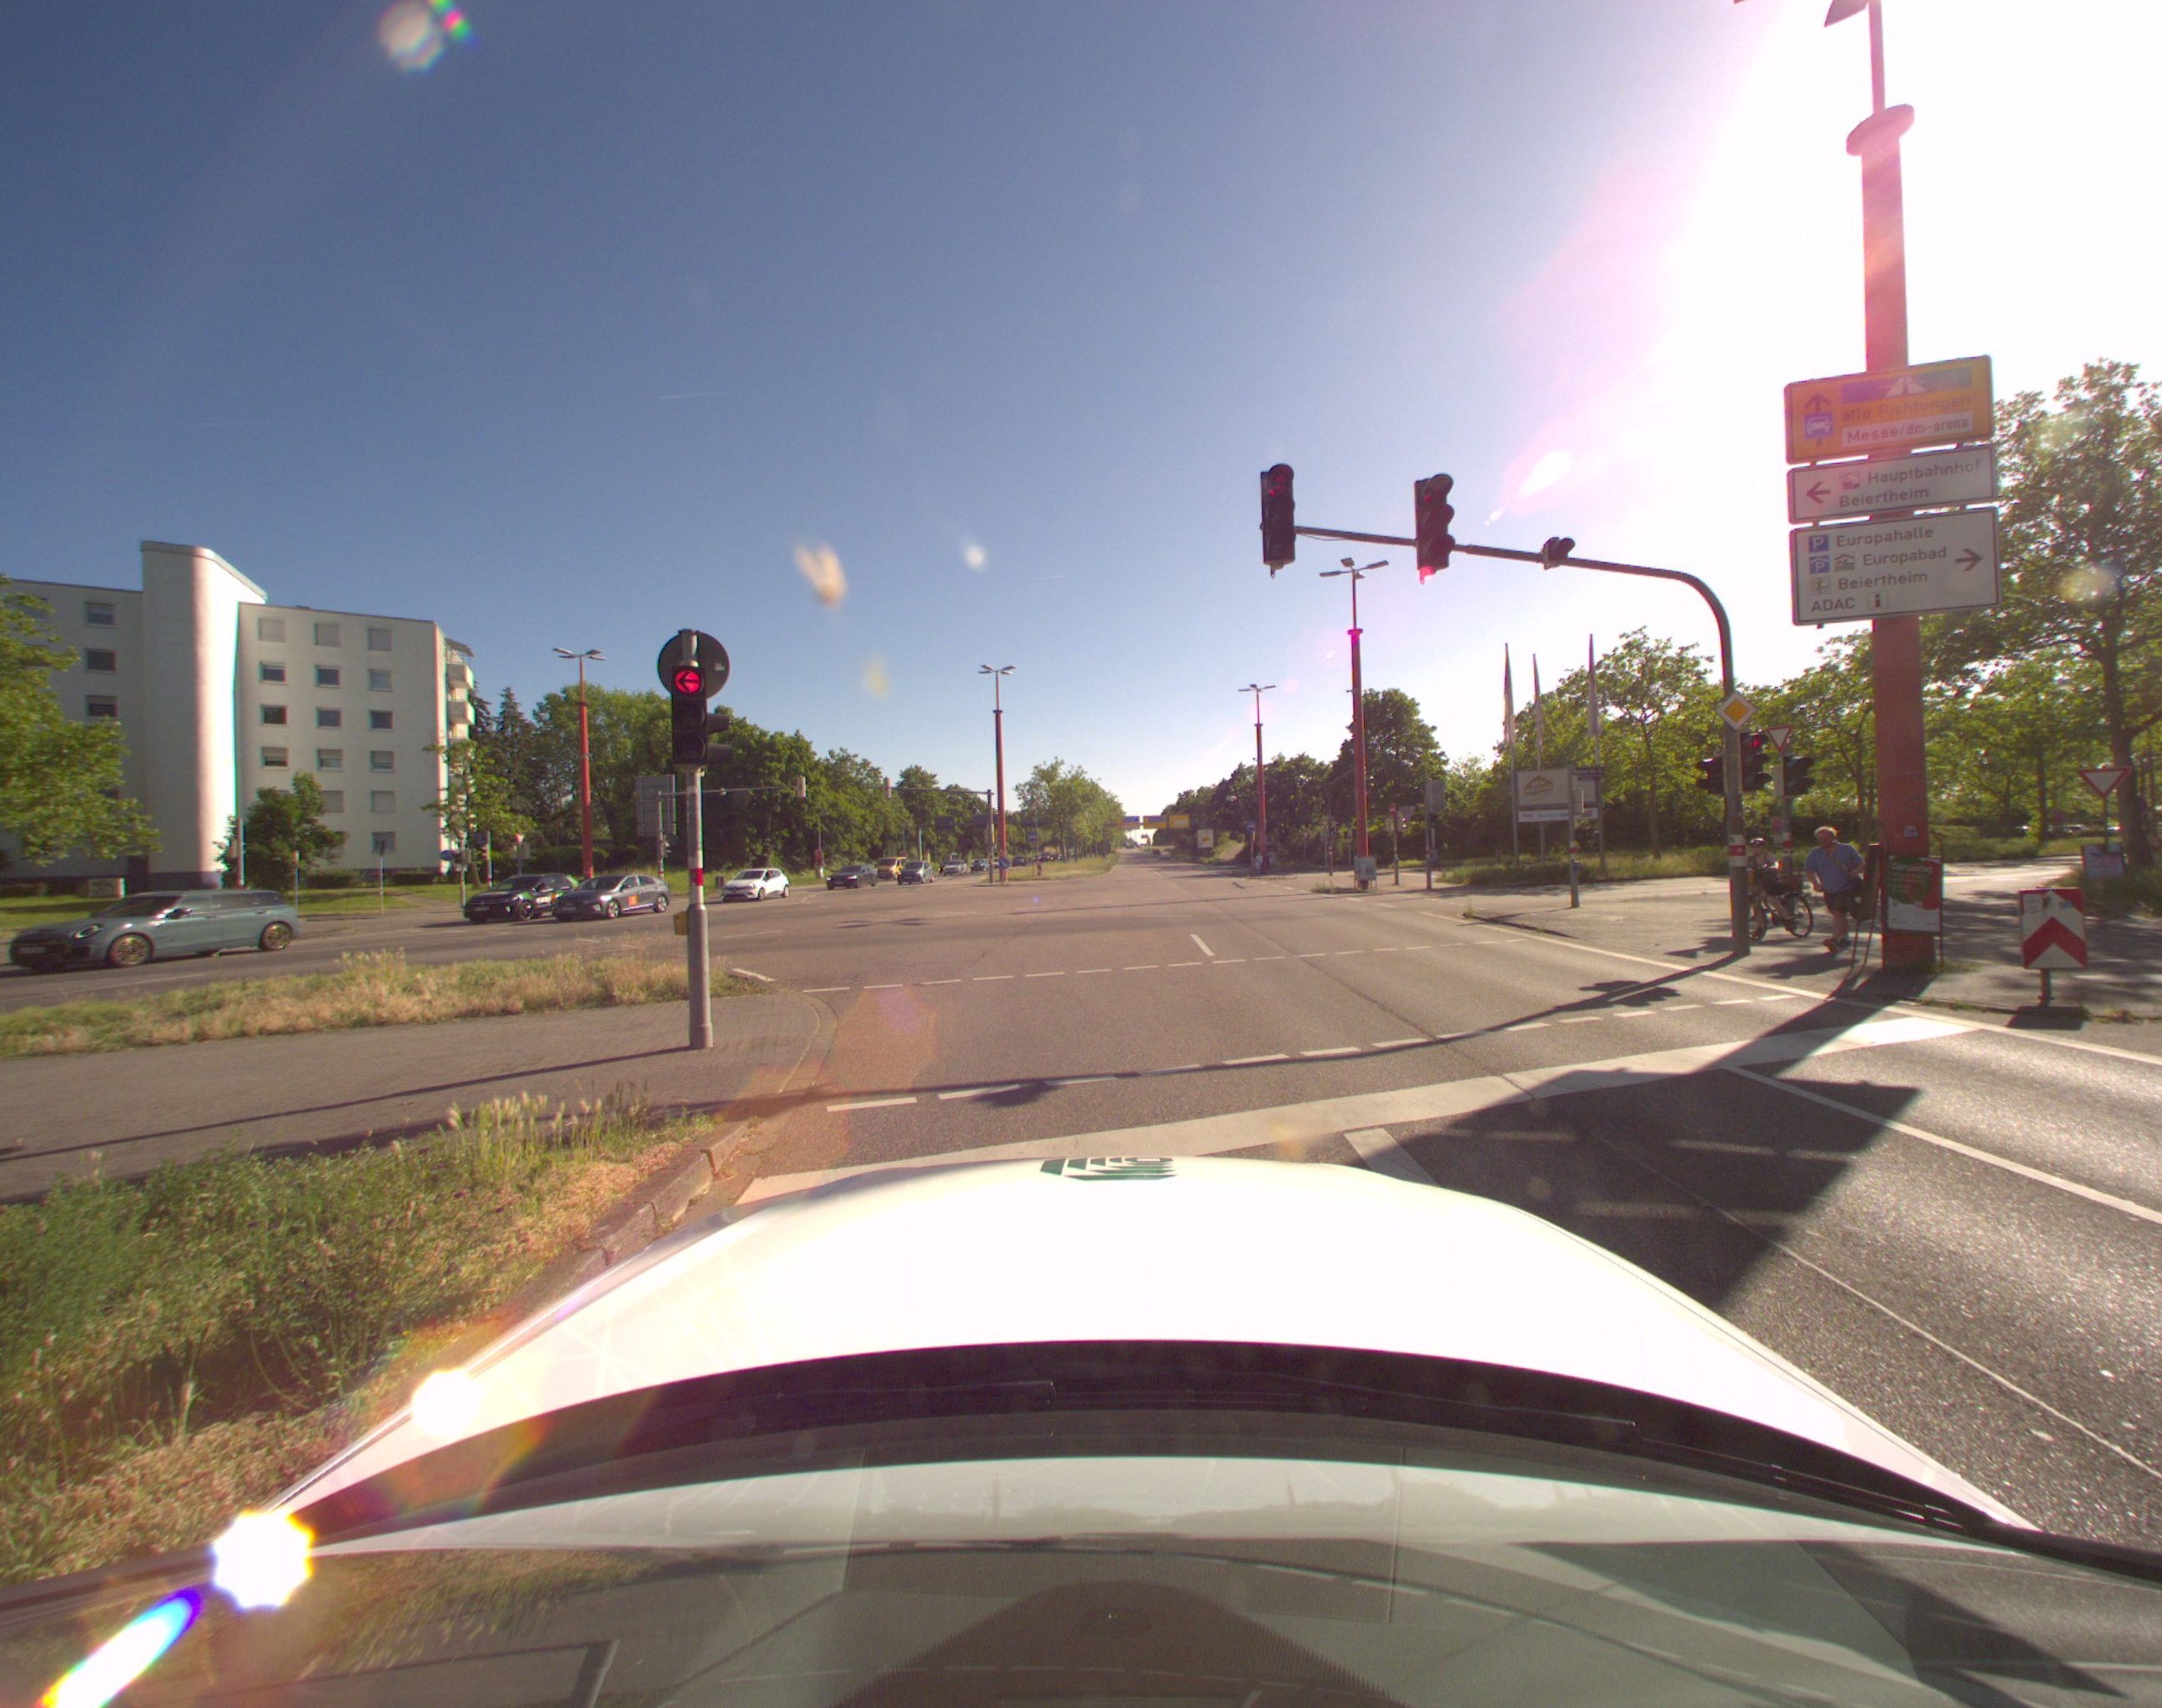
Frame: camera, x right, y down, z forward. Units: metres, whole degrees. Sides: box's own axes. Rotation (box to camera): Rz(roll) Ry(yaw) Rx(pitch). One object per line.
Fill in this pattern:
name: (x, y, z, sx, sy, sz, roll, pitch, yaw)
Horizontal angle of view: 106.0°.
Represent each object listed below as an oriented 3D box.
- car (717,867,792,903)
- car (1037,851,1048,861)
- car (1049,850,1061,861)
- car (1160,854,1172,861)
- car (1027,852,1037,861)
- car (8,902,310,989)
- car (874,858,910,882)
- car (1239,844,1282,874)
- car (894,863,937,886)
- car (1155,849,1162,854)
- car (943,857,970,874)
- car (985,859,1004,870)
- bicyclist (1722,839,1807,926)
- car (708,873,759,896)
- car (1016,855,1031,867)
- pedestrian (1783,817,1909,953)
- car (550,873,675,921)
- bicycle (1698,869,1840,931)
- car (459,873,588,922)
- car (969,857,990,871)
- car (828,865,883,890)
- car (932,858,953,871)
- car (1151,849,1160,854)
car: (-14.829, 1.362, 37.227, 1.598, 1.459, 3.954, -2, 0, 4)
car: (-7.534, 0.380, 160.617, 1.997, 2.014, 4.000, -1, -1, 0)
car: (-4.526, 0.270, 140.192, 1.649, 1.747, 4.005, -1, -1, 4)
car: (16.994, 0.630, 162.283, 2.047, 1.371, 4.393, -2, 0, 1)
car: (-10.845, 0.595, 179.596, 1.997, 2.014, 4.000, -1, -1, 0)
car: (-18.973, 1.810, 17.089, 1.424, 1.388, 4.144, -1, -1, 4)
car: (-16.263, 1.354, 70.430, 1.750, 1.987, 4.793, -1, -1, 3)
car: (11.867, 0.303, 53.667, 1.975, 1.887, 4.023, -2, 0, 24)
car: (-10.616, 1.292, 52.553, 1.693, 1.421, 4.003, 1, -1, 3)
car: (21.086, -0.580, 221.573, 1.730, 1.341, 3.084, -2, 0, 3)
car: (-12.115, 1.146, 79.503, 1.696, 1.596, 4.004, -1, -1, 4)
car: (-11.153, 1.399, 105.679, 1.997, 1.308, 4.000, -2, 0, 0)
bicyclist: (10.998, 0.451, 13.124, 0.739, 1.341, 0.705, -2, 0, -9)
car: (-21.110, 1.858, 49.630, 1.448, 1.273, 3.614, -1, -1, 2)
car: (-8.803, 1.038, 124.418, 1.618, 1.739, 4.004, -2, 0, 4)
pedestrian: (10.571, 0.405, 11.288, 0.891, 1.788, 0.898, -1, 0, -8)
car: (-15.594, 1.385, 27.405, 1.542, 1.377, 4.265, -2, 0, 3)
bicycle: (11.060, 0.724, 13.091, 2.164, 0.878, 0.557, -2, 0, -14)
car: (-19.106, 1.450, 28.130, 1.537, 1.433, 3.889, -3, -1, 3)
car: (-11.574, 1.105, 93.363, 1.696, 1.558, 3.807, -1, -1, 4)
car: (-13.497, 1.371, 49.041, 1.621, 1.368, 4.801, -2, 0, 4)
car: (-15.869, 1.209, 93.266, 1.622, 1.450, 3.437, -1, -1, 3)
car: (22.726, -0.671, 247.765, 1.990, 1.497, 3.993, 0, 0, -5)
